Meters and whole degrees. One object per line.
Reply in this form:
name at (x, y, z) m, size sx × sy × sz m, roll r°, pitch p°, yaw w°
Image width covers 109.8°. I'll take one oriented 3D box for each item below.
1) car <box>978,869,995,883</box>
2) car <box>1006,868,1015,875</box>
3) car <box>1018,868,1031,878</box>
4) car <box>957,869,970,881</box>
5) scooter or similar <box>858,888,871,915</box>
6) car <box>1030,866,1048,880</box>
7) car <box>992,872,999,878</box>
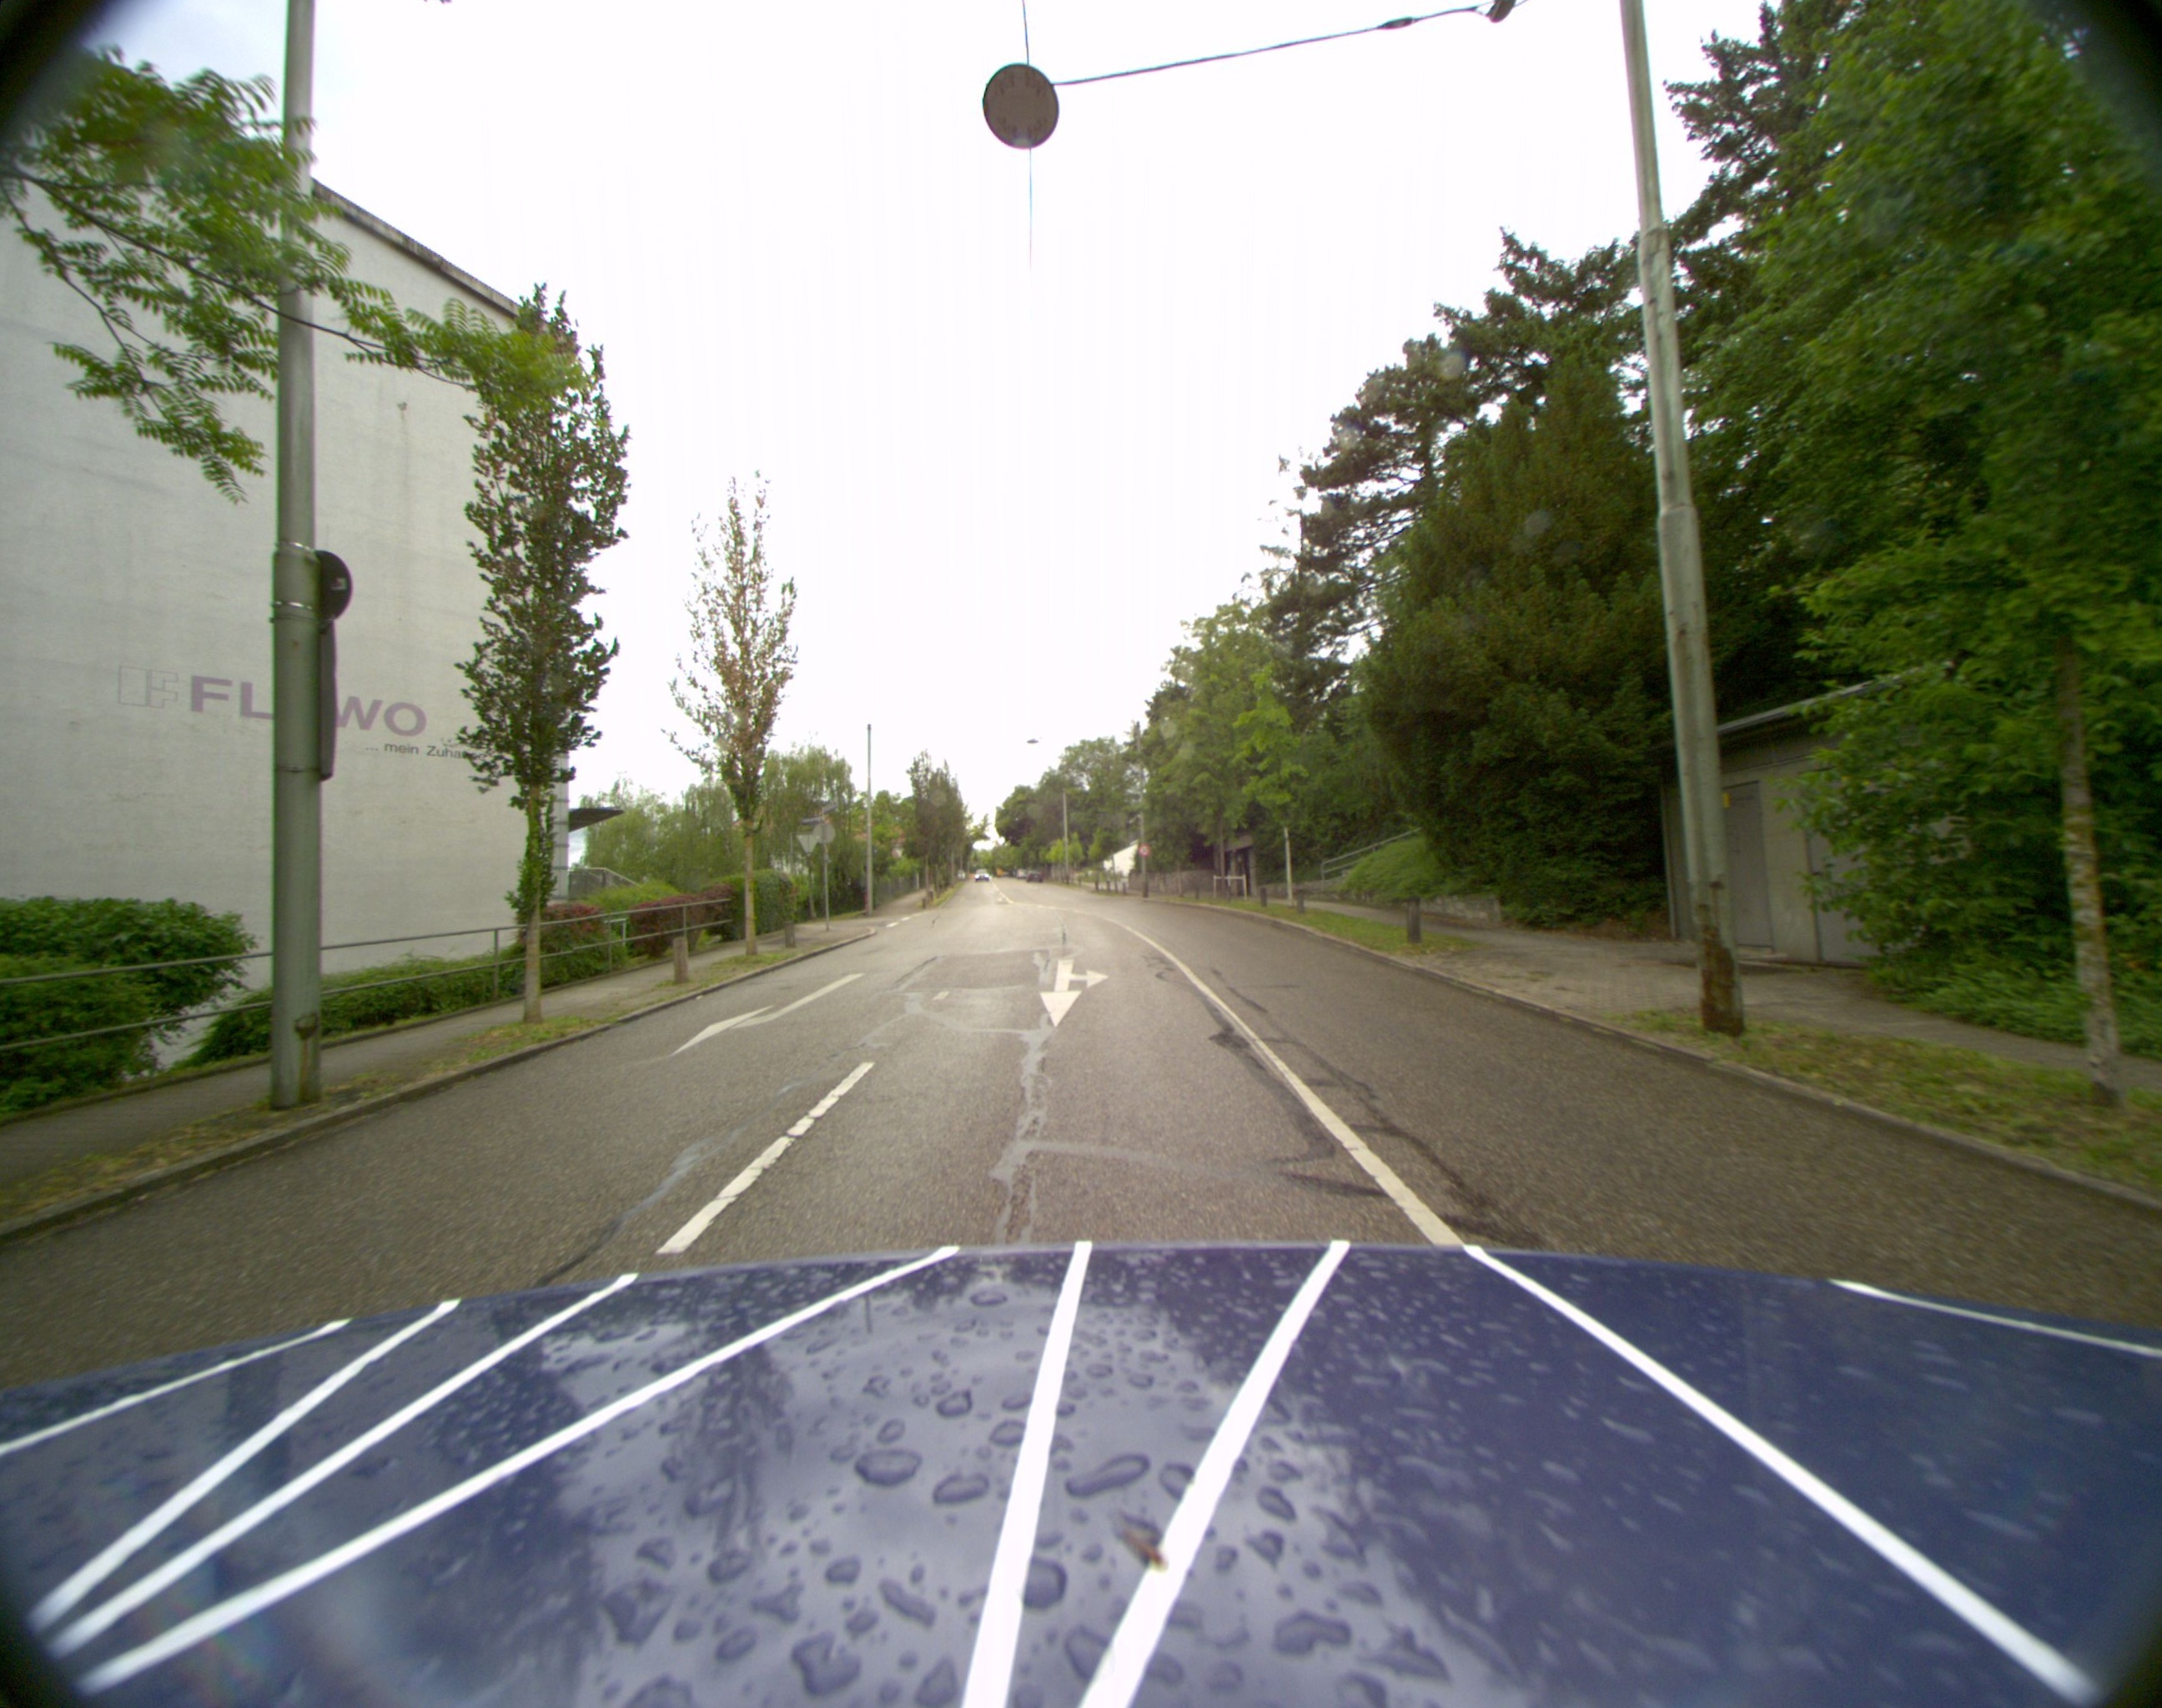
car at (-13.008, 3.005, 104.685) m, size 1.999 × 1.673 × 3.999 m, roll -5°, pitch -1°, yaw -5°
car at (-16.966, 4.192, 182.621) m, size 1.751 × 1.540 × 3.915 m, roll 1°, pitch -1°, yaw -8°
car at (-8.442, 2.778, 113.640) m, size 1.771 × 1.477 × 3.799 m, roll 1°, pitch -1°, yaw -7°
car at (-17.738, 3.183, 114.553) m, size 1.830 × 1.620 × 3.997 m, roll -2°, pitch 0°, yaw -9°
scooter or similar at (-10.681, 2.334, 37.580) m, size 0.344 × 1.247 × 1.266 m, roll -5°, pitch 1°, yaw -9°
car at (-5.069, 2.228, 90.799) m, size 1.917 × 1.575 × 4.584 m, roll 1°, pitch -1°, yaw -7°
car at (-24.697, 6.085, 219.068) m, size 1.767 × 1.477 × 3.997 m, roll -1°, pitch 0°, yaw -7°
